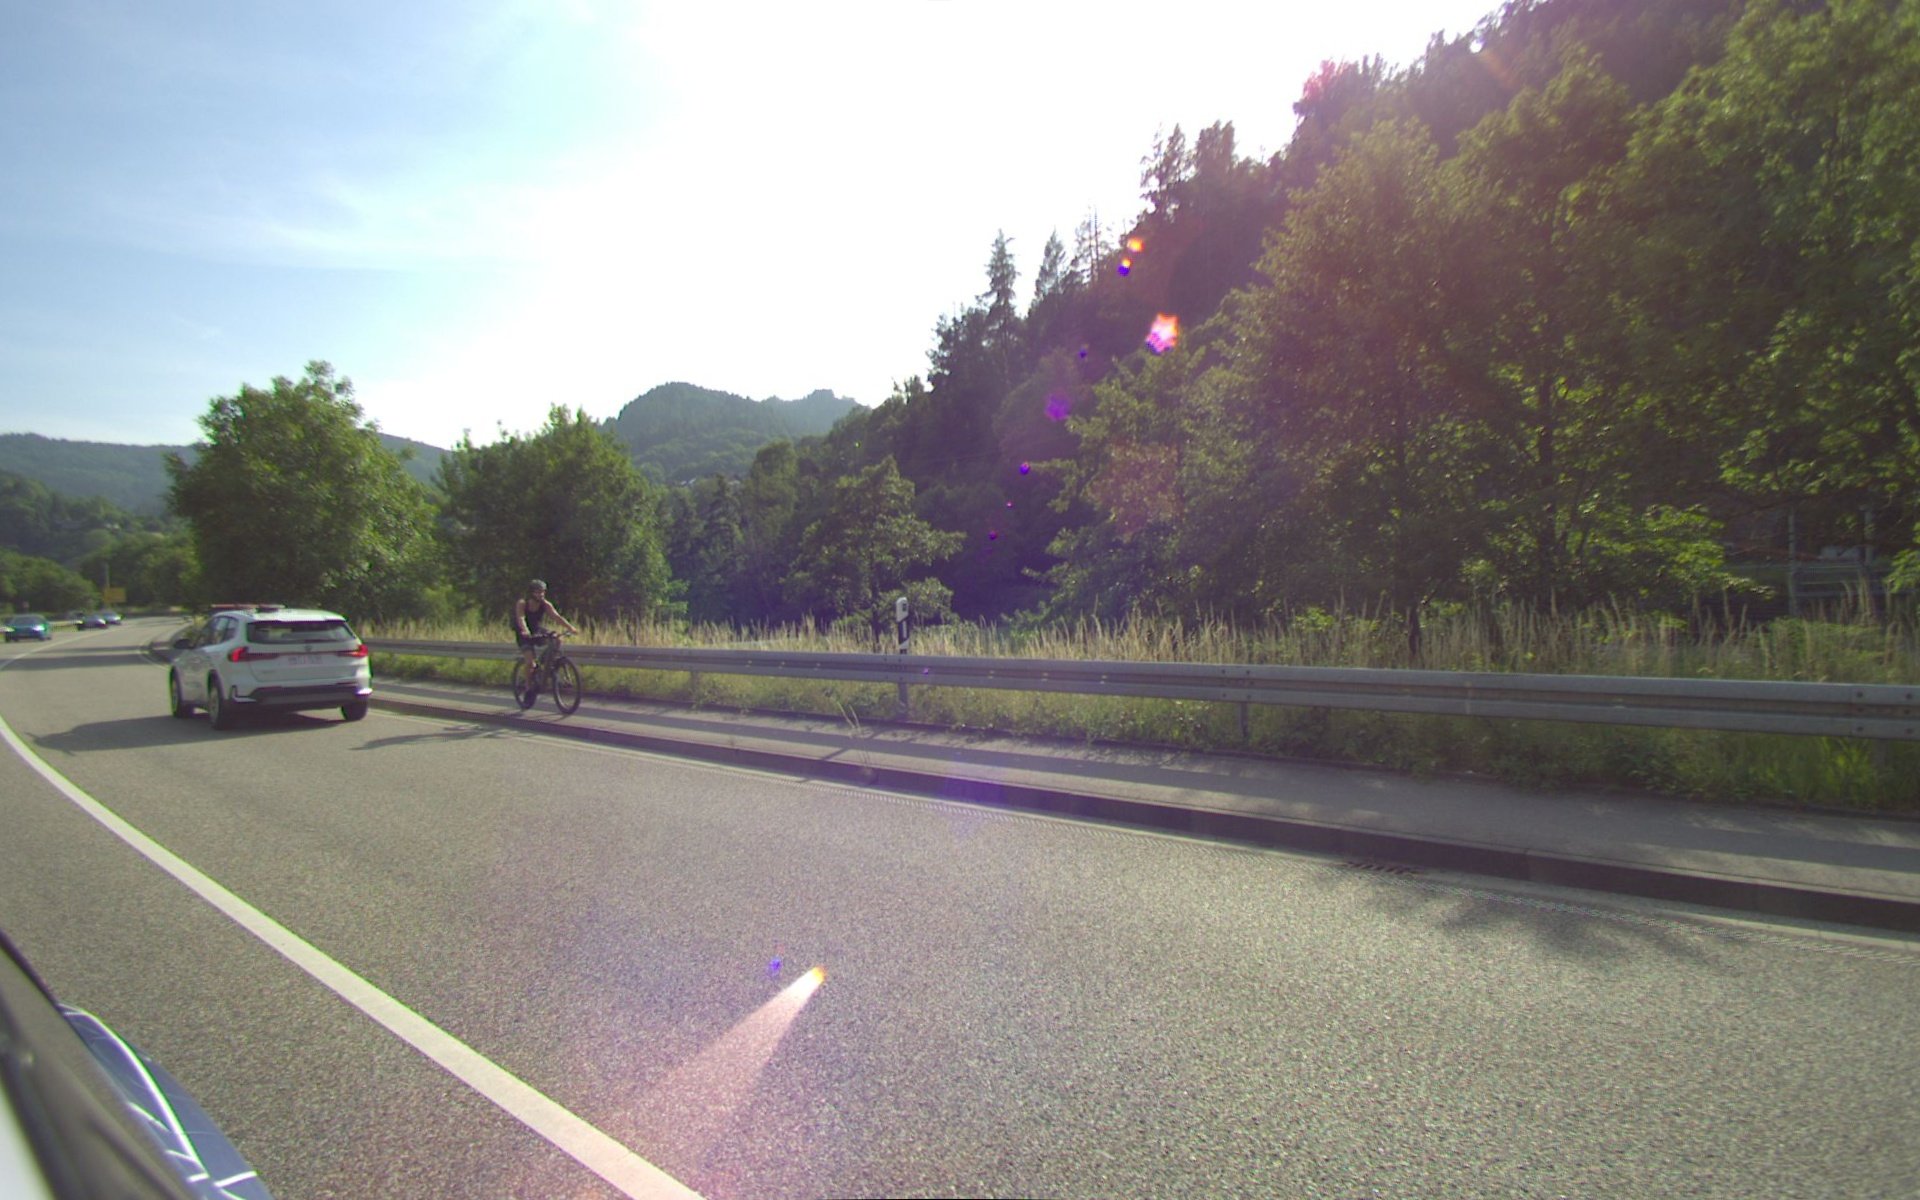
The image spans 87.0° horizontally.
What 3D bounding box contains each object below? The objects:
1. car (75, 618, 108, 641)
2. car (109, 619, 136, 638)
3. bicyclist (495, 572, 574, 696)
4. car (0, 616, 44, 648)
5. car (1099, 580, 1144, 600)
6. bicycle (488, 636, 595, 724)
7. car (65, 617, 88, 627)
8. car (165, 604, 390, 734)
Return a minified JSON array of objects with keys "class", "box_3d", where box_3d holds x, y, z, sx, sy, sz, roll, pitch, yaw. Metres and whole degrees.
[{"class":"car","box_3d":[-71.662,2.410,83.543,1.856,1.758,4.186,-1,-1,-38]},{"class":"car","box_3d":[-83.013,2.823,100.335,1.856,1.758,4.188,-1,-1,-37]},{"class":"bicyclist","box_3d":[-5.836,0.460,13.857,0.551,1.598,1.036,-6,2,-43]},{"class":"car","box_3d":[-55.081,1.881,59.318,1.857,1.758,4.185,-1,0,-40]},{"class":"car","box_3d":[15.837,-1.004,99.450,1.848,1.745,4.006,-6,4,-41]},{"class":"bicycle","box_3d":[-5.751,1.052,13.835,0.551,1.053,2.232,-6,2,-42]},{"class":"car","box_3d":[-133.641,3.379,153.010,3.987,1.490,1.565,-1,-1,33]},{"class":"car","box_3d":[-10.076,0.920,14.833,4.001,1.642,1.971,-2,-2,44]}]
